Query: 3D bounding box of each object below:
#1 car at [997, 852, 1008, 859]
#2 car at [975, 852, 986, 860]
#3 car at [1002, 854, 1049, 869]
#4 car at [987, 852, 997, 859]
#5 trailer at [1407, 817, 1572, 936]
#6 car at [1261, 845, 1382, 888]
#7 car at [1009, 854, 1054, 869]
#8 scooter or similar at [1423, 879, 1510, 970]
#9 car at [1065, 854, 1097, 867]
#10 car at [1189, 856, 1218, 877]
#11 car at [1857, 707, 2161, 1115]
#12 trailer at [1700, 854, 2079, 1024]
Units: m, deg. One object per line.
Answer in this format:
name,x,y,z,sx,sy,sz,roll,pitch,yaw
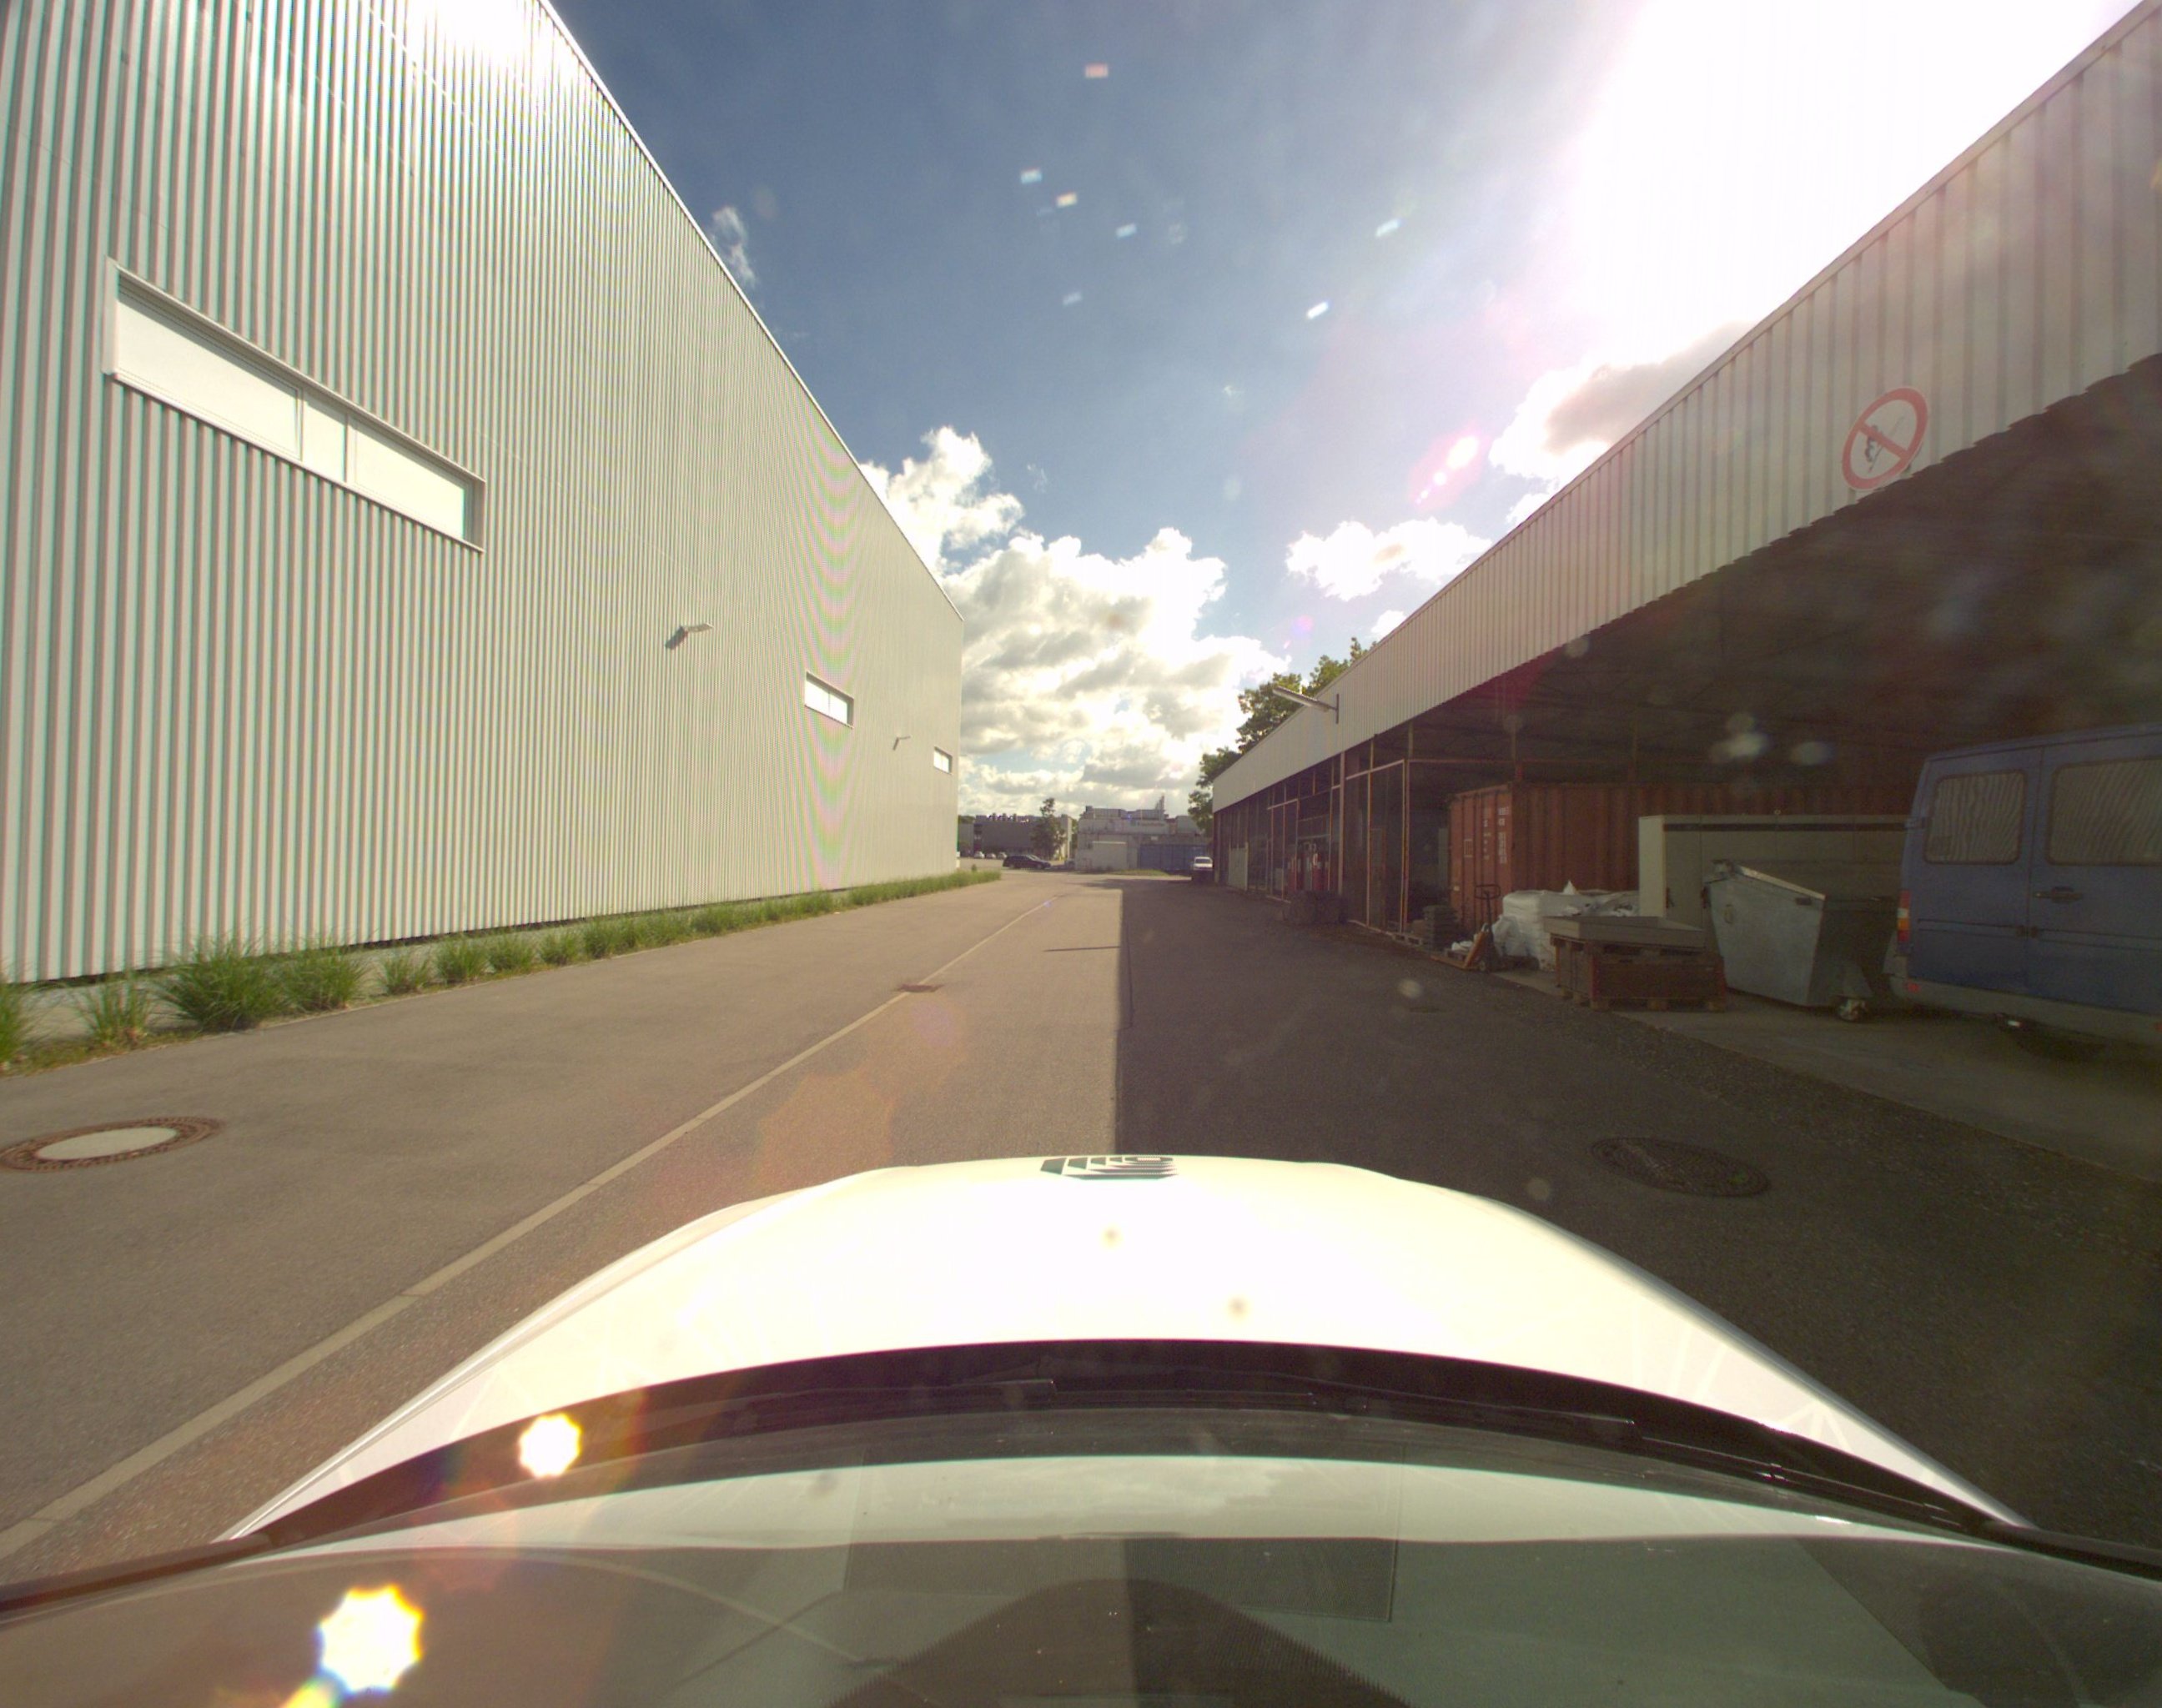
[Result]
car,-17.362,0.413,180.482,1.871,1.537,4.035,0,-1,0
car,-22.240,0.377,180.577,1.871,1.689,4.035,0,-1,0
car,-5.598,0.771,82.942,4.511,1.443,1.988,1,-2,2
car,-19.691,0.431,180.339,1.871,1.537,4.035,0,-1,0
trailer,8.091,0.424,16.481,1.572,2.143,3.521,0,-1,0
car,11.515,0.603,39.251,5.153,1.918,2.276,1,-1,-3
car,-5.206,0.785,86.191,4.511,1.443,1.905,1,-2,2
scooter or similar,5.285,0.934,11.257,0.518,1.134,1.593,0,-1,2
car,0.011,0.900,110.531,4.262,1.569,1.988,1,-2,2
car,10.418,1.018,69.787,1.973,1.593,4.343,2,1,2
car,8.711,0.348,5.357,5.196,2.297,2.085,0,-1,1
trailer,7.721,0.754,7.995,2.084,1.462,1.644,0,-1,5
